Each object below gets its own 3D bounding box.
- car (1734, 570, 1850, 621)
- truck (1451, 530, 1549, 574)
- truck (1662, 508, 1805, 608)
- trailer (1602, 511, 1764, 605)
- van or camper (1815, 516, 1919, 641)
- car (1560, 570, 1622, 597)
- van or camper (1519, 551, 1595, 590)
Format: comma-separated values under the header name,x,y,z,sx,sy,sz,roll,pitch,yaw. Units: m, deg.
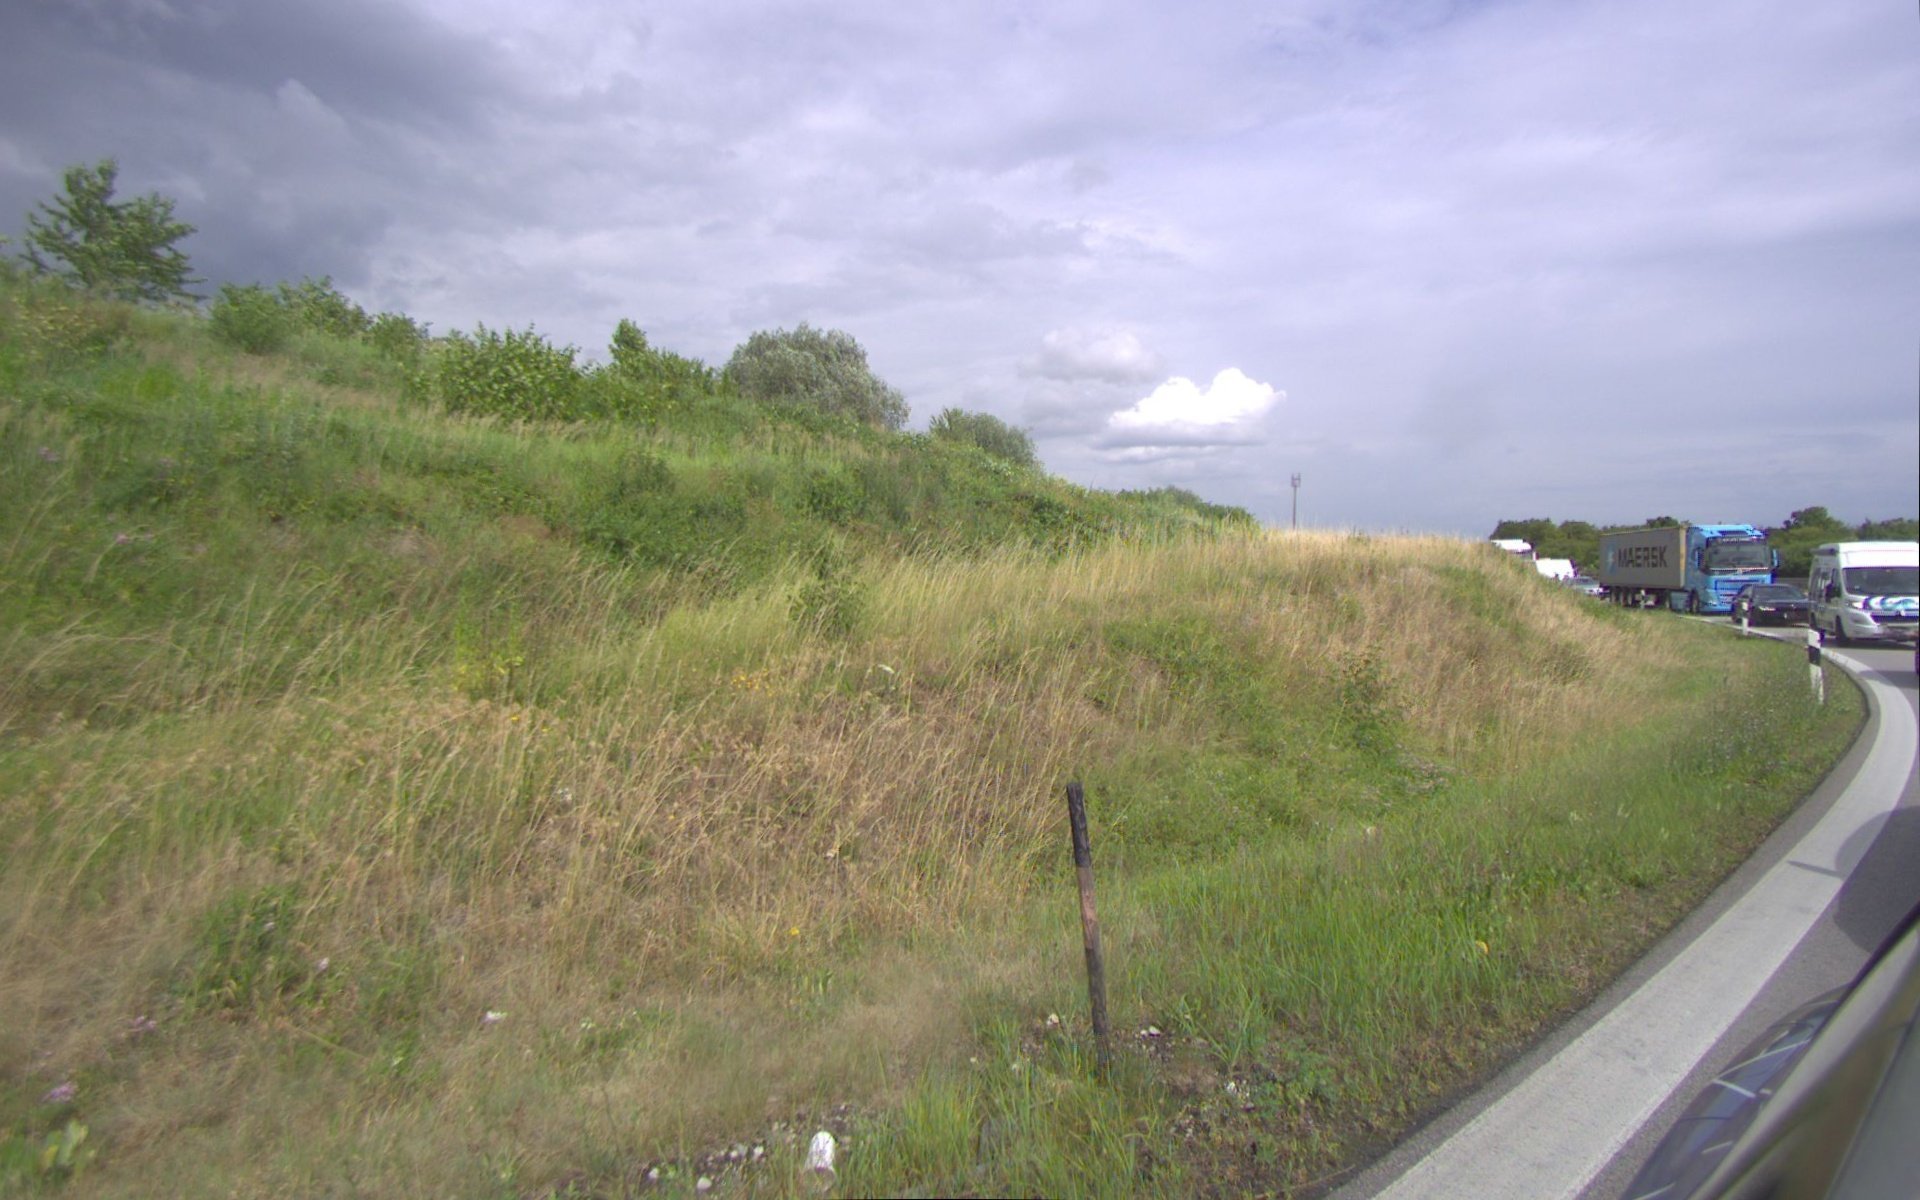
name,x,y,z,sx,sy,sz,roll,pitch,yaw
car,29.267,-0.228,35.743,1.976,1.638,3.973,1,2,21
truck,43.454,-3.803,81.938,3.072,3.279,11.143,0,2,7
truck,34.397,-1.790,45.325,3.140,4.124,6.605,-1,1,19
trailer,36.577,-2.017,51.883,3.232,4.213,11.948,-1,1,18
van or camper,24.019,-0.562,26.330,2.386,2.945,5.645,0,1,37
car,39.269,-1.027,63.082,1.969,1.548,3.989,0,3,11
van or camper,40.520,-2.051,68.870,2.512,2.237,5.700,-1,4,9
